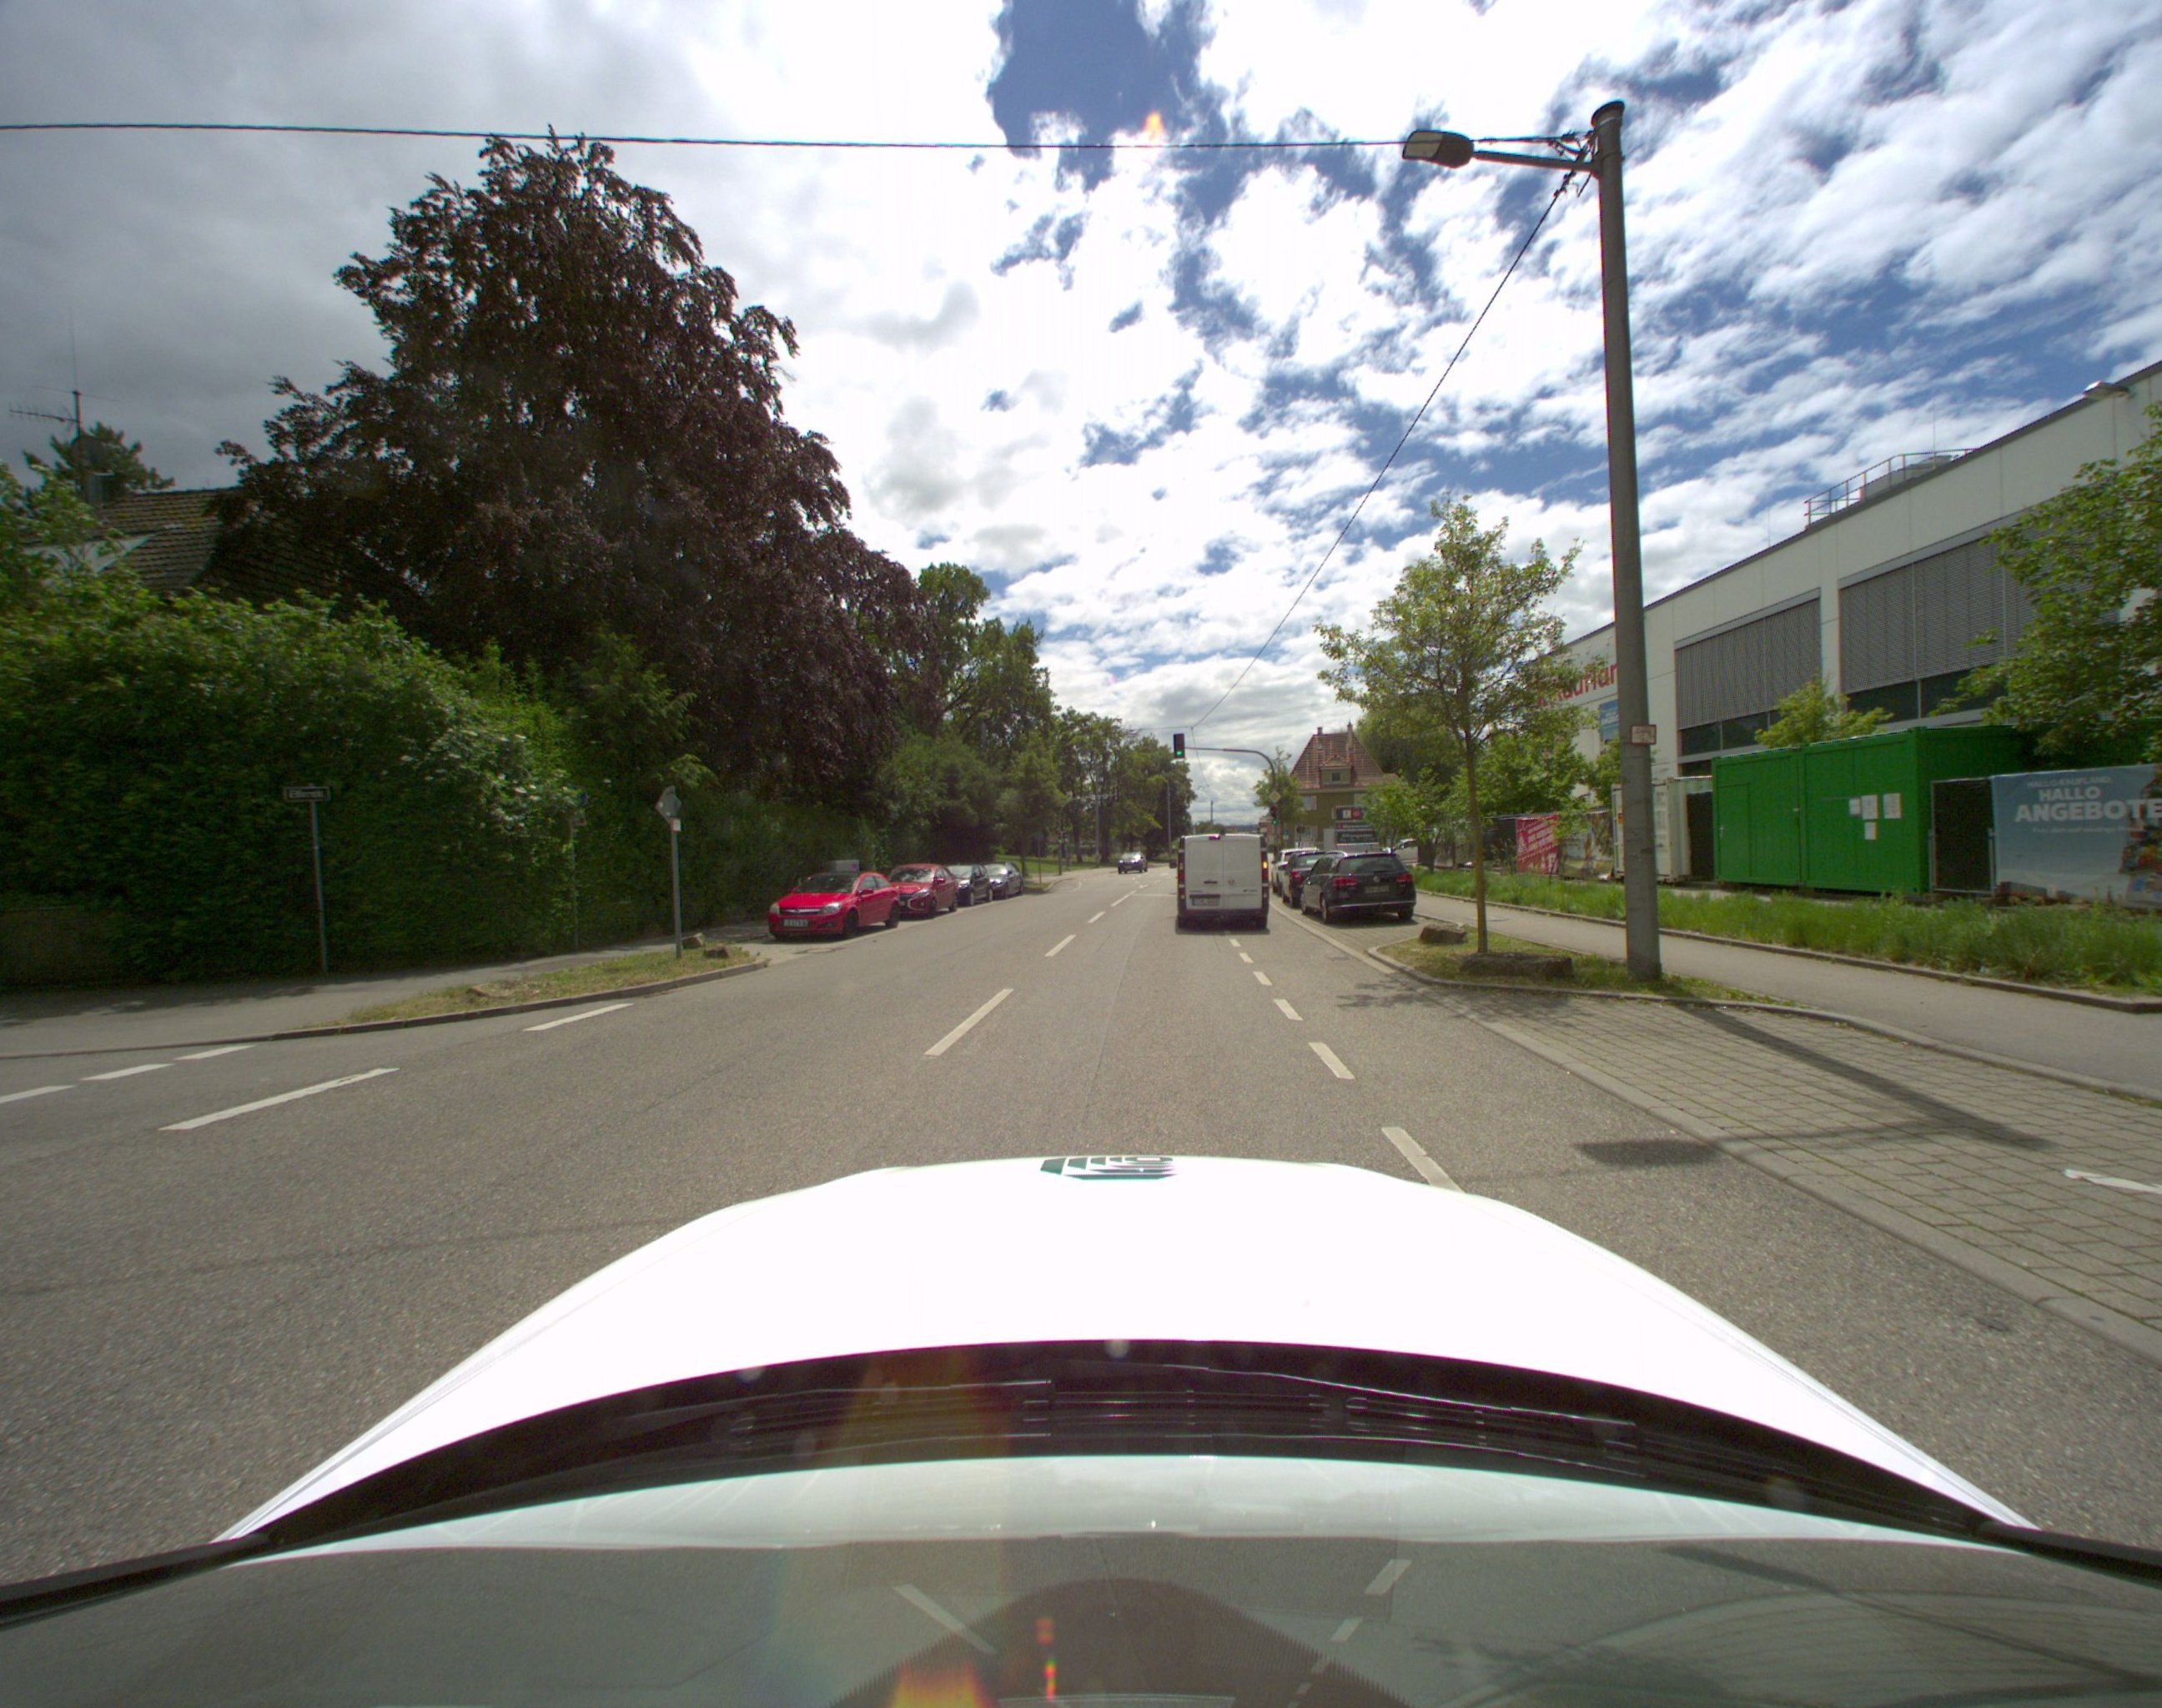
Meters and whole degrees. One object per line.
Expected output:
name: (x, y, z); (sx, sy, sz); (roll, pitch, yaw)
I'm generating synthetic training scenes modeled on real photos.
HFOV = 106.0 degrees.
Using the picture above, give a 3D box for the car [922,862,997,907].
car: (-4.194, 1.021, 28.702); (1.586, 1.450, 3.605); (-1, 0, 9)

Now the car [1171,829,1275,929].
car: (3.063, 0.493, 18.467); (1.929, 1.960, 4.840); (0, 0, 5)

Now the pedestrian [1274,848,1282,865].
pedestrian: (19.171, 0.238, 79.289); (0.673, 1.553, 0.838); (-3, -2, 13)

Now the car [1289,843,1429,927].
car: (5.973, 0.610, 18.140); (1.756, 1.477, 4.943); (-5, -1, 6)

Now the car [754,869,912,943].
car: (-5.453, 1.087, 18.581); (1.651, 1.378, 4.576); (-1, 0, 8)

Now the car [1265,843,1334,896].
car: (7.605, 0.507, 28.693); (1.727, 1.616, 4.396); (-4, -1, 8)

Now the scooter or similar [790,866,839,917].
scooter or similar: (-7.780, 1.065, 23.849); (0.666, 1.412, 1.653); (-1, 0, 9)

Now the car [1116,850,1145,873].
car: (3.887, 0.540, 63.193); (1.823, 1.616, 4.162); (-3, 0, 8)

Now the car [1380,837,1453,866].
car: (21.228, -0.167, 51.651); (3.968, 1.606, 1.611); (-3, 0, 5)

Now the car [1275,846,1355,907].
car: (6.547, 0.588, 23.145); (1.559, 1.493, 4.009); (-3, -1, 8)

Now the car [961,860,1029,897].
car: (-3.406, 0.951, 32.953); (1.686, 1.365, 4.696); (0, 0, 7)

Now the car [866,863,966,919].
car: (-4.711, 1.018, 23.848); (1.641, 1.450, 4.113); (-1, 0, 7)
